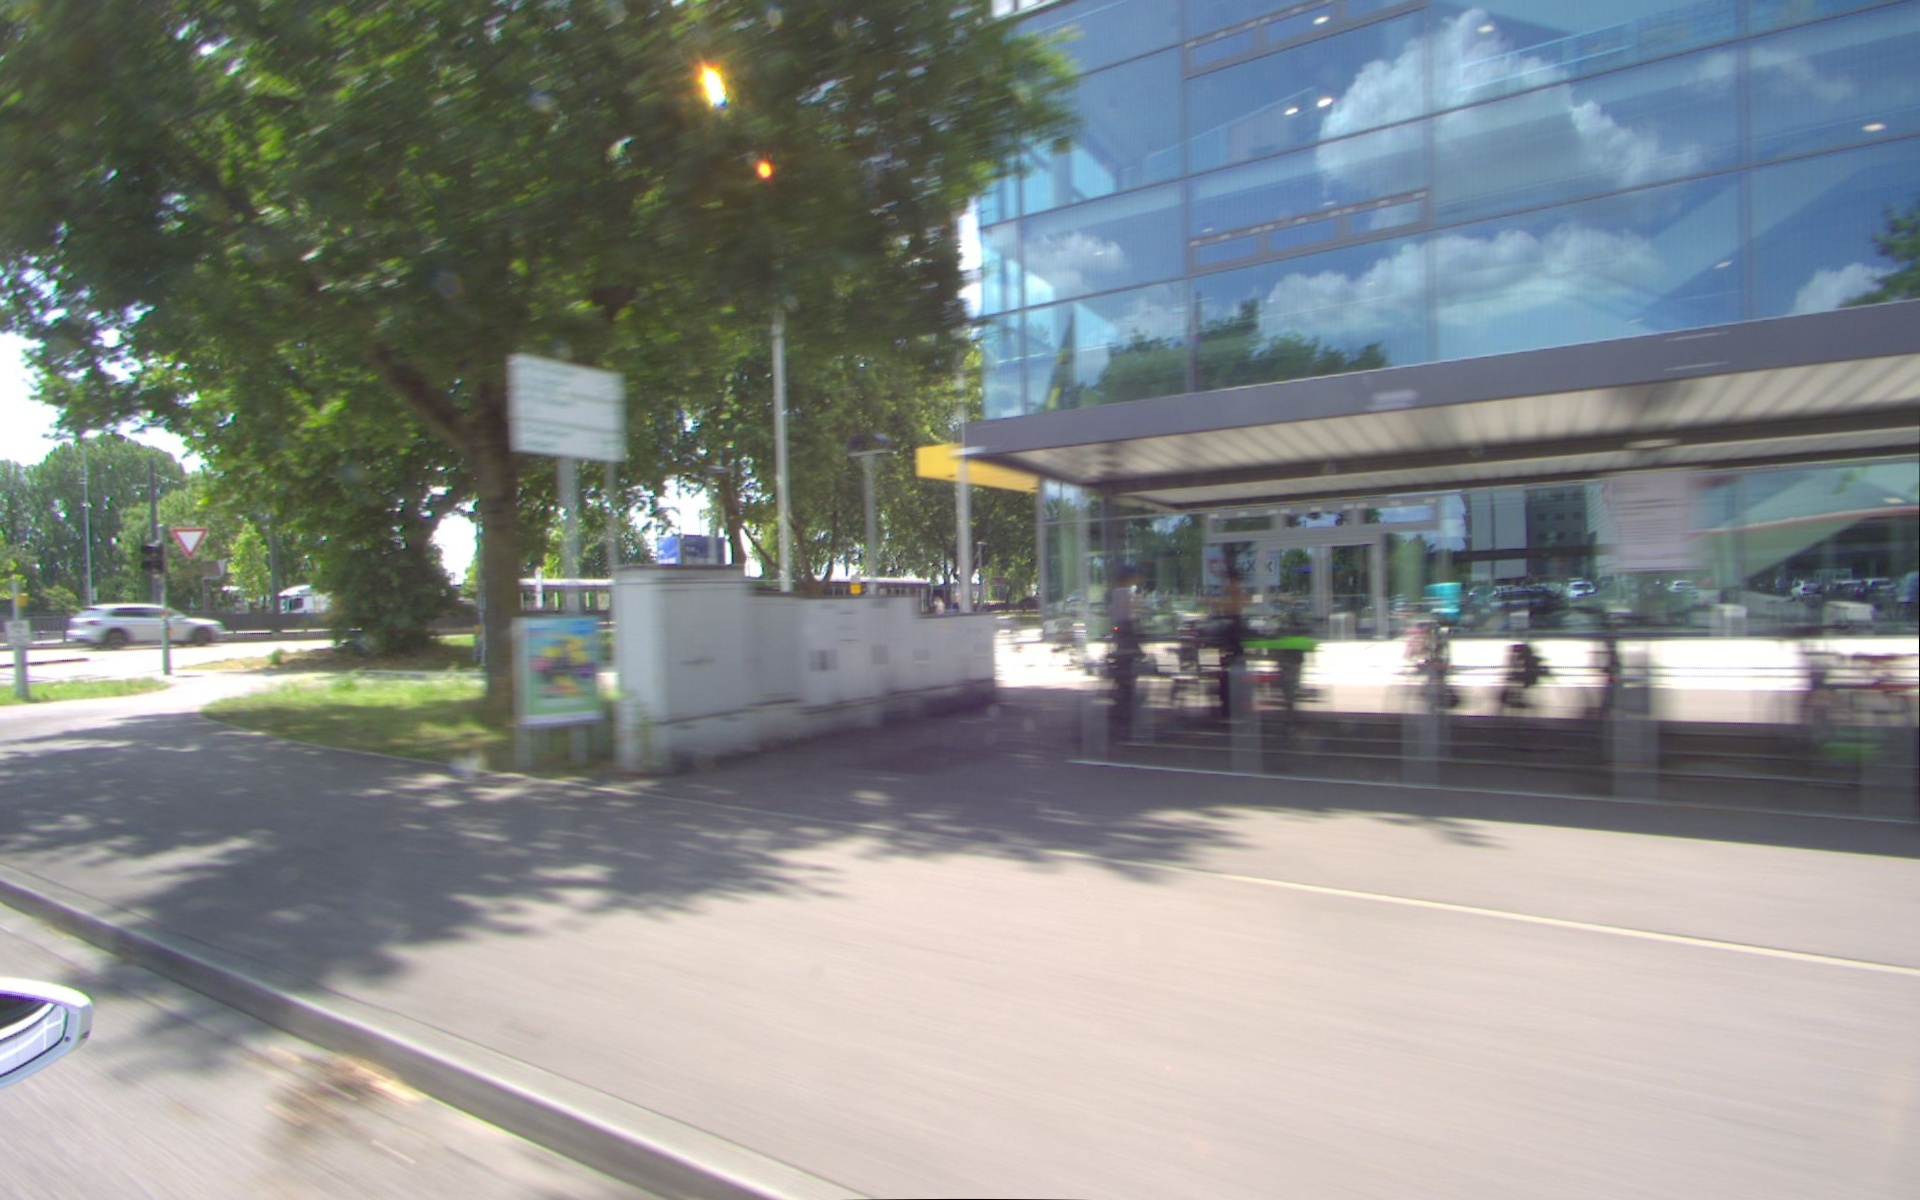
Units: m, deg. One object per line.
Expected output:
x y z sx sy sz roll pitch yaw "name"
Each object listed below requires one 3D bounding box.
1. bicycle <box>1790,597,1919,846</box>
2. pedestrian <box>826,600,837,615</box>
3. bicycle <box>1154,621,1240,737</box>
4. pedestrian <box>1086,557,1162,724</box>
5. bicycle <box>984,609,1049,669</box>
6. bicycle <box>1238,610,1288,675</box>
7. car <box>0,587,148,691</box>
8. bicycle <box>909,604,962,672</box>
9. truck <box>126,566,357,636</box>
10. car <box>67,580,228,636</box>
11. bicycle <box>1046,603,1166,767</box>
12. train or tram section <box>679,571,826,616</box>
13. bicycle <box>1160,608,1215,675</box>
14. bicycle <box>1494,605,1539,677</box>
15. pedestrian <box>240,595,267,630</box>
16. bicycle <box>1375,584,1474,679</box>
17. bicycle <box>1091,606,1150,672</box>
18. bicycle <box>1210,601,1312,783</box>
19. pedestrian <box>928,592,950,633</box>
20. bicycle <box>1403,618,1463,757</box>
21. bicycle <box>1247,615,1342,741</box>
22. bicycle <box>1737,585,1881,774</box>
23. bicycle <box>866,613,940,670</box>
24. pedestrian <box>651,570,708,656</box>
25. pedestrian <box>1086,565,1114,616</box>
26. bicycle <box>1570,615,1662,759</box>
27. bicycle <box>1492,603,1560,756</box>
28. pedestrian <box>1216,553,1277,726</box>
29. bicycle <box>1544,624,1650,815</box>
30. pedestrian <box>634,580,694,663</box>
5.320 0.608 5.777 0.417 1.204 1.860 0 2 27 "bicycle"
-10.268 0.582 80.062 0.685 1.206 0.639 1 1 31 "pedestrian"
2.444 0.749 10.208 0.417 1.008 1.860 0 1 27 "bicycle"
1.720 0.417 10.485 0.540 1.684 0.541 -1 0 43 "pedestrian"
1.067 0.695 18.412 0.457 1.008 1.860 0 1 28 "bicycle"
4.824 0.645 15.887 0.417 0.894 1.860 -1 2 27 "bicycle"
-15.092 0.600 15.797 1.694 1.552 3.202 0 1 36 "car"
-0.436 0.681 18.791 0.453 1.173 1.678 -1 1 18 "bicycle"
-46.078 0.052 64.924 2.910 4.159 11.932 0 0 32 "truck"
-30.810 0.271 38.115 1.971 2.016 4.340 -1 1 31 "car"
1.281 0.648 8.489 0.417 1.203 1.860 0 1 27 "bicycle"
-15.926 -0.449 78.815 3.001 3.228 14.041 -1 -1 28 "train or tram section"
3.806 0.657 16.664 0.417 1.008 1.860 -1 1 27 "bicycle"
7.892 0.546 14.166 0.464 0.894 1.857 0 2 32 "bicycle"
-38.286 0.675 54.271 0.725 1.831 0.925 0 1 31 "pedestrian"
6.766 0.415 14.527 0.713 1.246 2.128 0 2 42 "bicycle"
2.816 0.654 17.460 0.417 1.008 1.859 -2 1 27 "bicycle"
2.381 0.635 7.799 0.417 1.204 1.860 0 2 27 "bicycle"
-0.884 0.521 42.051 0.585 1.686 0.715 0 2 36 "pedestrian"
4.149 0.700 8.736 0.417 1.008 1.860 0 2 27 "bicycle"
3.249 0.695 9.630 0.418 1.048 1.857 0 1 33 "bicycle"
6.407 0.522 7.638 0.417 1.248 1.860 0 2 27 "bicycle"
-1.094 0.783 19.661 0.418 1.008 1.857 0 1 33 "bicycle"
-7.054 0.318 25.146 1.000 2.099 0.965 -2 1 -43 "pedestrian"
4.729 -0.326 33.896 0.789 1.685 0.703 -2 0 2 "pedestrian"
5.412 0.665 8.325 0.417 1.008 1.860 -2 0 27 "bicycle"
4.842 0.620 8.620 0.417 1.131 1.860 -1 1 27 "bicycle"
2.884 0.382 10.073 0.471 1.685 0.543 0 2 30 "pedestrian"
4.185 0.706 6.652 0.417 1.008 1.860 0 2 27 "bicycle"
-7.037 0.495 23.815 1.000 1.927 0.965 -2 1 -44 "pedestrian"
